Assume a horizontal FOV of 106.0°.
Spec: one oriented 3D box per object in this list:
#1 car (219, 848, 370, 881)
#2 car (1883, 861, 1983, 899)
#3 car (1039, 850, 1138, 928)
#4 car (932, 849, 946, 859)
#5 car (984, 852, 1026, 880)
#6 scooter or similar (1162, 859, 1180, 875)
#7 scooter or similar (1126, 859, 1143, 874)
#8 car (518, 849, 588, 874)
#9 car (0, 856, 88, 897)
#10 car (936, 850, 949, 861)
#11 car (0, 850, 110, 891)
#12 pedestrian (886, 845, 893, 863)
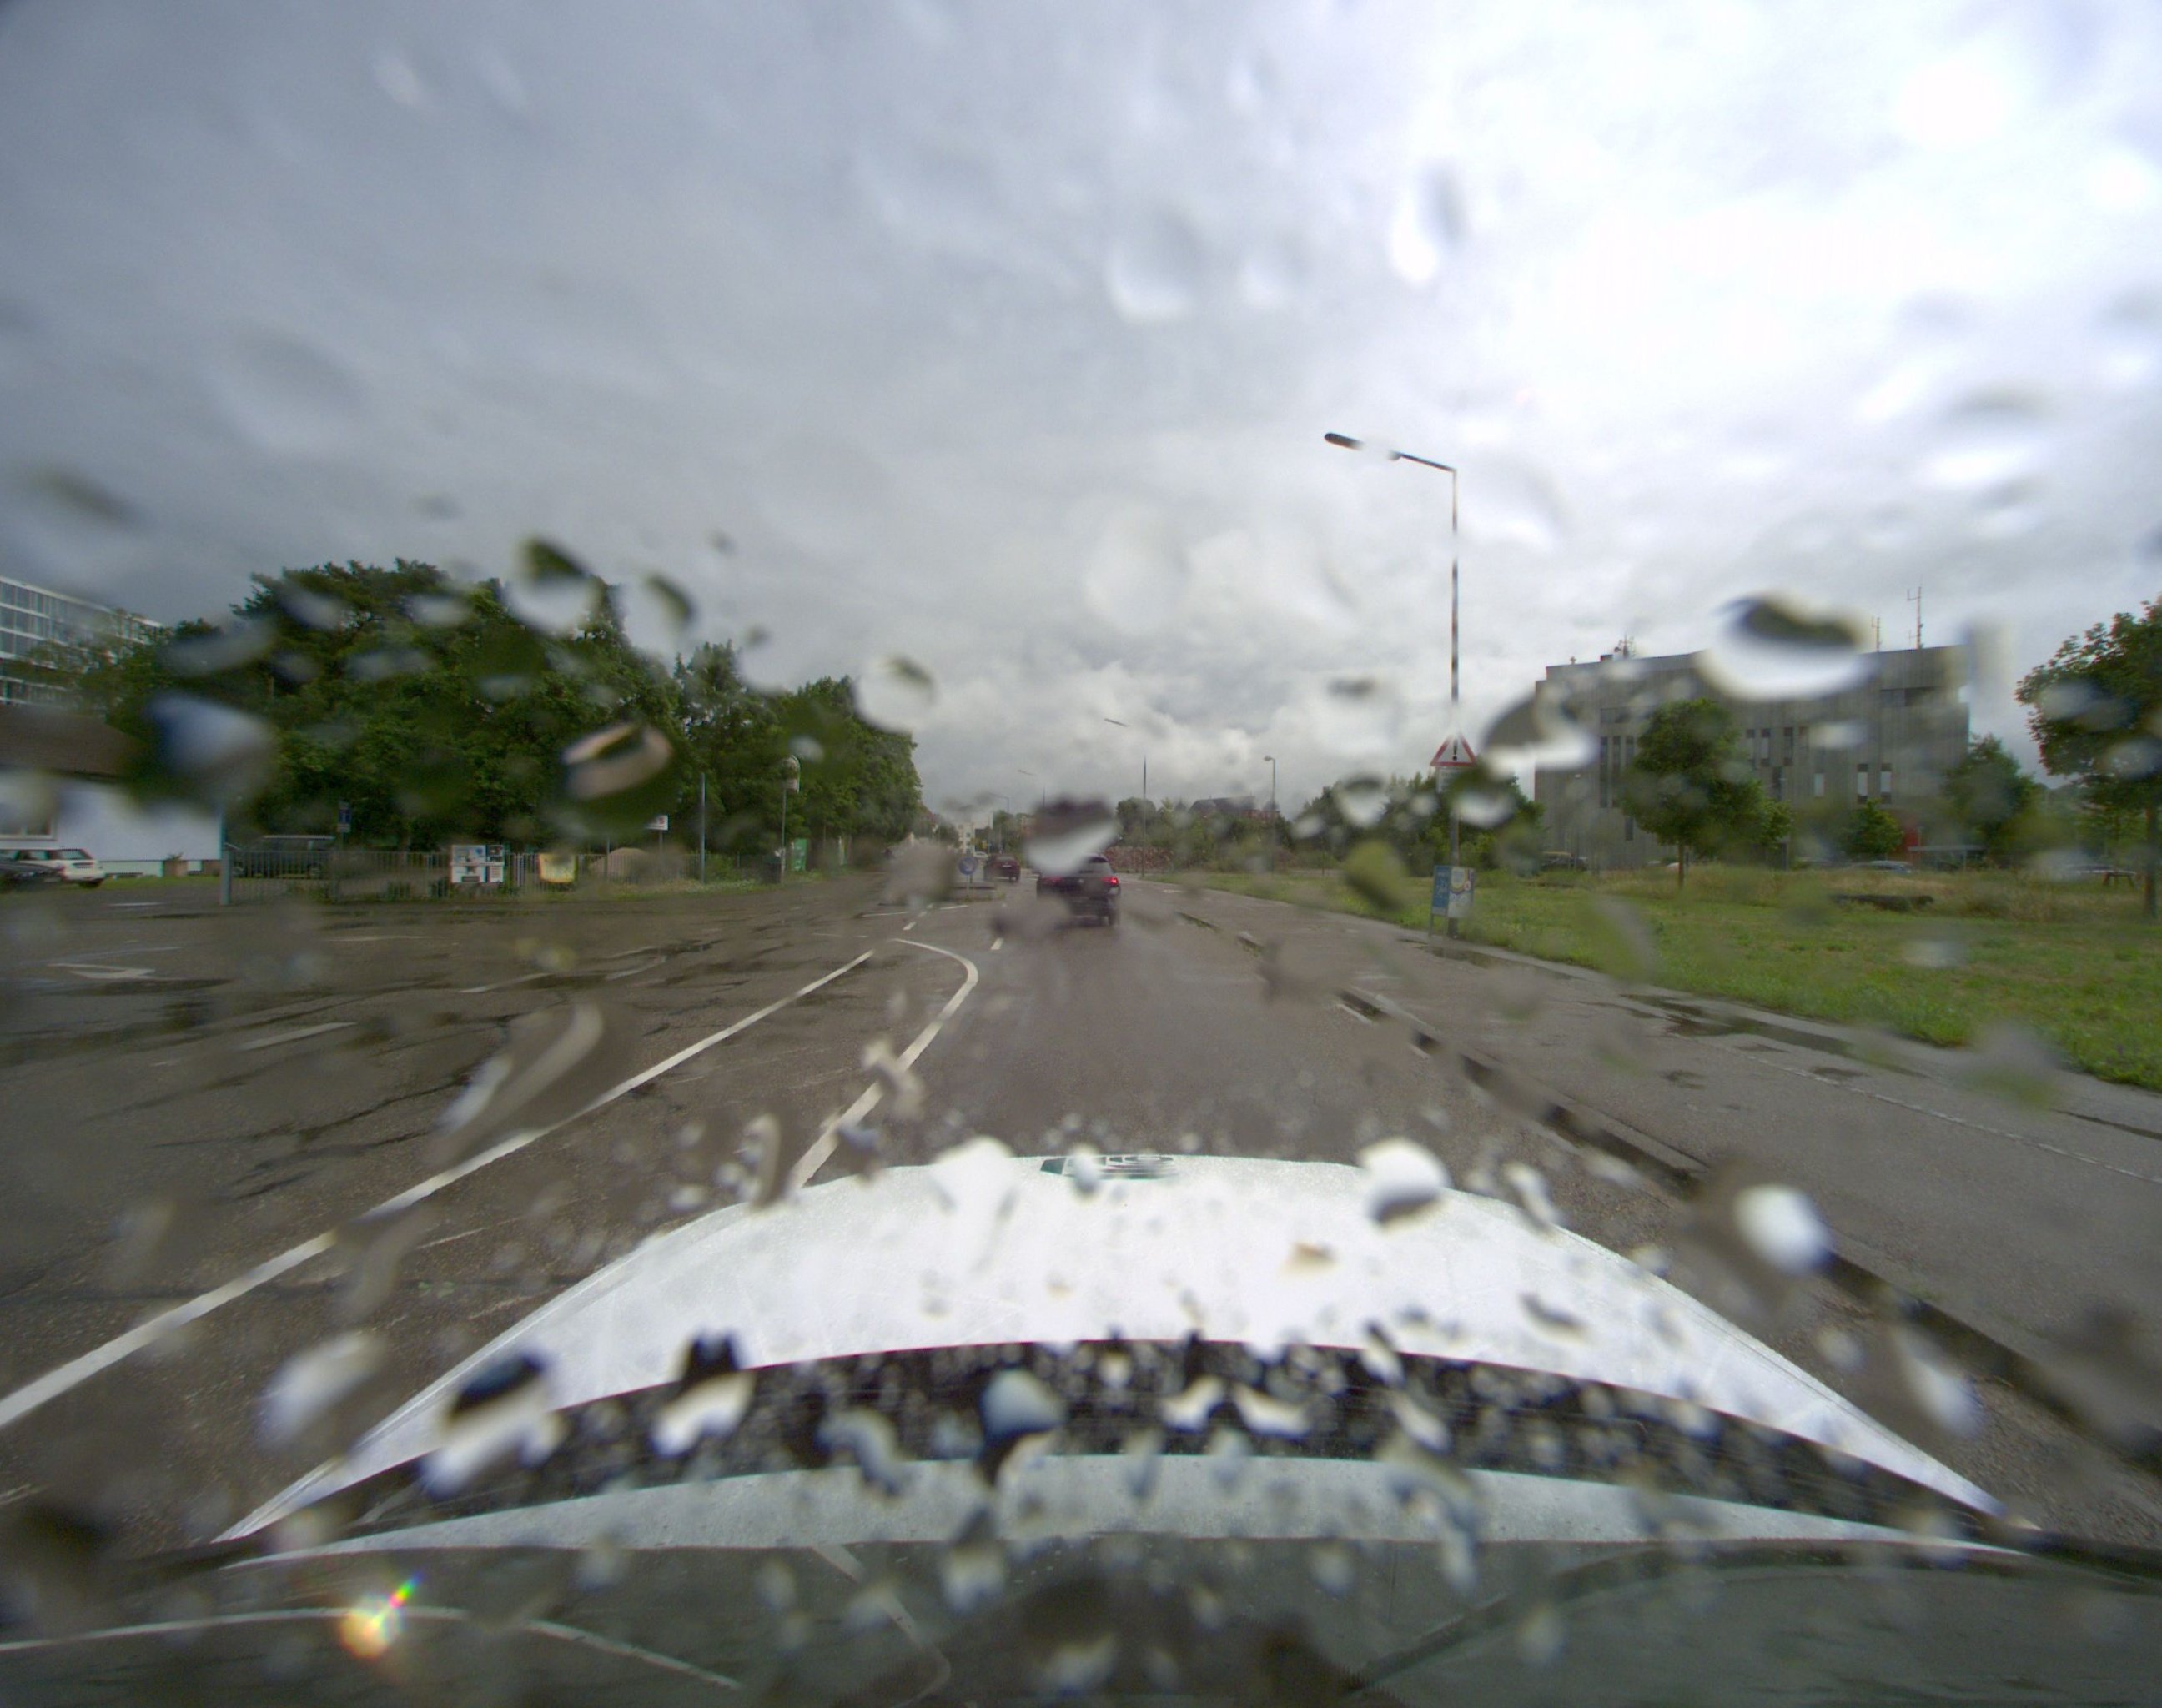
[{"bbox_3d":[-35.379,0.466,36.745,4.527,1.418,1.994,0,0,-9],"label":"car"},{"bbox_3d":[47.524,1.408,45.530,3.662,2.014,2.012,0,-1,40],"label":"car"},{"bbox_3d":[0.057,0.712,18.643,1.982,1.520,3.995,-2,0,-3],"label":"car"},{"bbox_3d":[-23.589,0.043,135.257,1.998,1.702,3.999,1,0,-12],"label":"car"},{"bbox_3d":[-4.214,0.661,44.640,1.842,1.442,3.983,-2,-1,-12],"label":"car"},{"bbox_3d":[7.353,1.078,66.535,1.268,1.187,0.506,4,1,29],"label":"scooter or similar"},{"bbox_3d":[4.418,1.008,67.121,1.268,1.187,0.506,4,1,29],"label":"scooter or similar"},{"bbox_3d":[-31.664,0.444,48.995,1.995,1.418,4.525,0,0,-12],"label":"car"},{"bbox_3d":[-33.300,0.674,24.943,3.372,1.208,1.660,0,0,-9],"label":"car"},{"bbox_3d":[-20.895,0.279,122.813,1.842,1.641,3.999,1,0,-12],"label":"car"},{"bbox_3d":[-34.825,0.528,26.674,3.907,1.316,1.385,0,0,-8],"label":"car"},{"bbox_3d":[-18.174,-0.014,77.199,0.524,1.701,0.564,3,1,-12],"label":"pedestrian"}]
